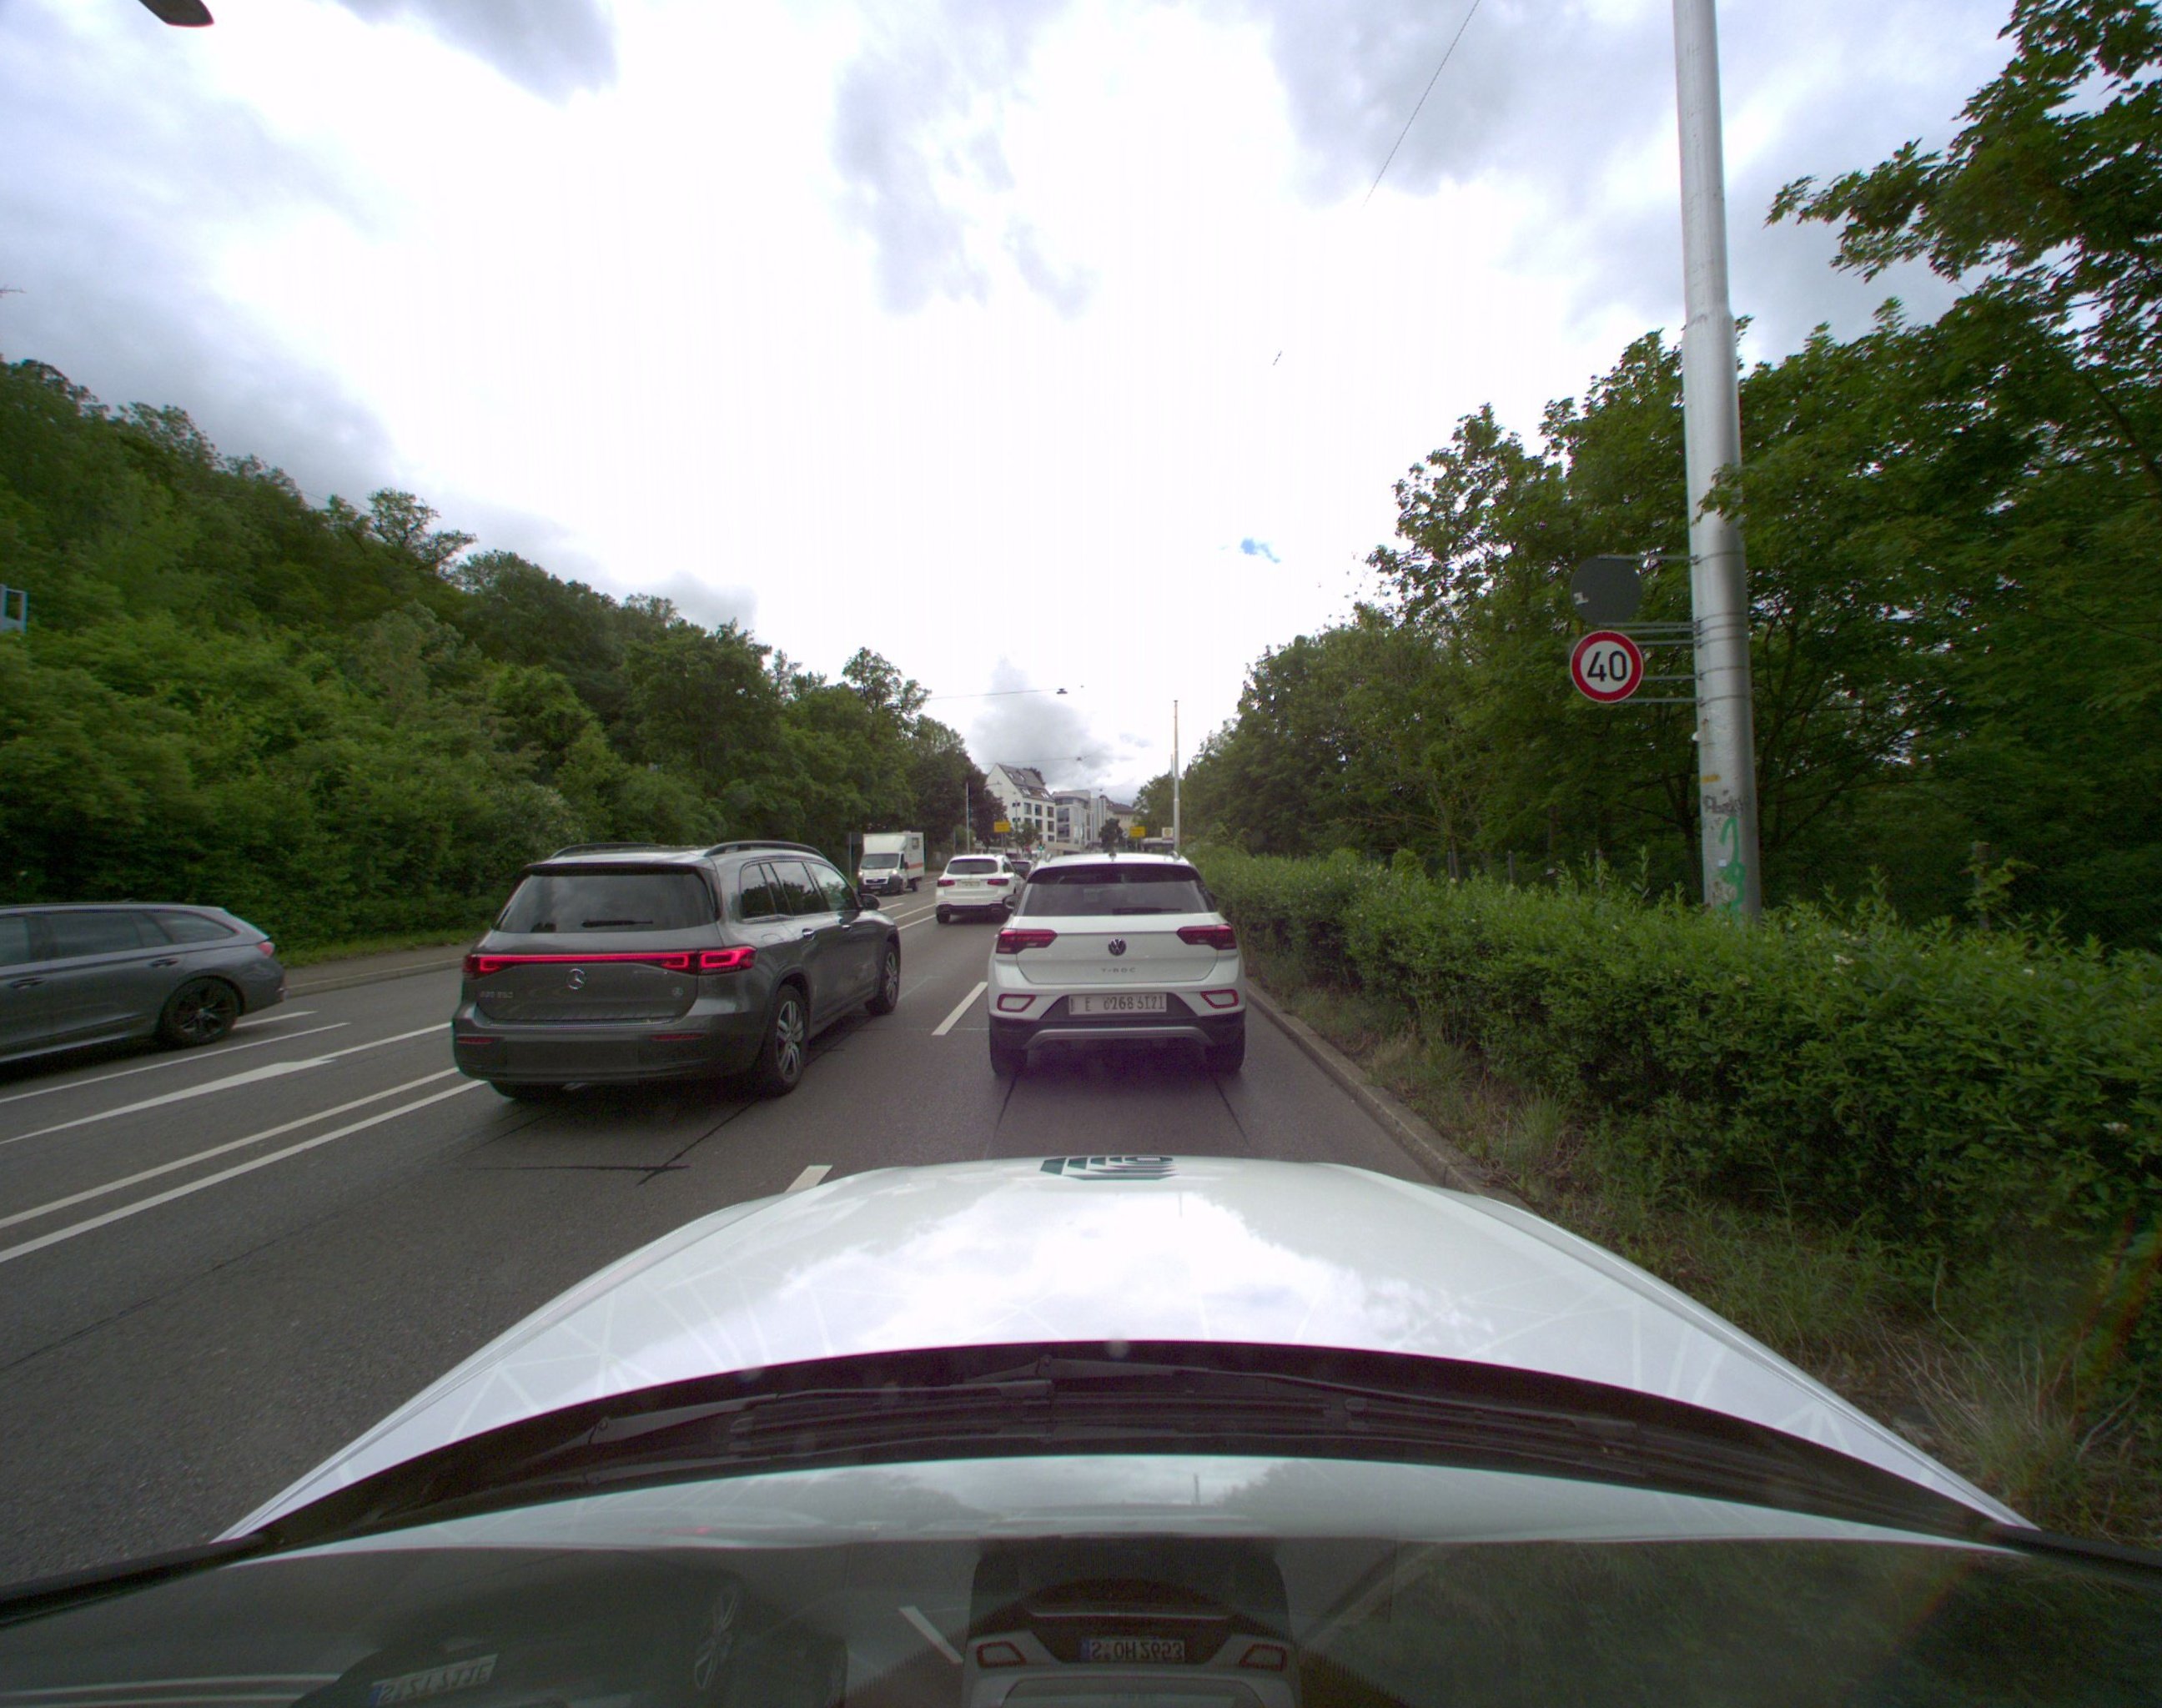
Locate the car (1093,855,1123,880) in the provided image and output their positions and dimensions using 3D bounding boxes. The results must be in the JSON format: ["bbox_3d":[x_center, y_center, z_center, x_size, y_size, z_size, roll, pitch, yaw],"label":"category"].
[{"bbox_3d":[1.701,0.838,52.483,1.823,1.526,4.001,-2,0,1],"label":"car"}]

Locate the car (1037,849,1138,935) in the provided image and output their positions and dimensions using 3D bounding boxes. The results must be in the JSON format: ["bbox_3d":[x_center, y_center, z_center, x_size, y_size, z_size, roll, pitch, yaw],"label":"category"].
[{"bbox_3d":[0.154,0.710,17.131,1.823,1.526,4.001,-2,0,1],"label":"car"}]

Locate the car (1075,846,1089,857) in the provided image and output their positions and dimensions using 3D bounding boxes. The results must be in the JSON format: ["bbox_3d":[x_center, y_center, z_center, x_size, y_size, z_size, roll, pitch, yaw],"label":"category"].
[{"bbox_3d":[0.154,-0.395,116.901,1.823,1.526,4.001,-2,0,1],"label":"car"}]

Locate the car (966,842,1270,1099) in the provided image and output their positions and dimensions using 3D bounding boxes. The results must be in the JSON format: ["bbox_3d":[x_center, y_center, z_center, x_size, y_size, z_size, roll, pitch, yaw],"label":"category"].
[{"bbox_3d":[0.262,0.721,7.001,1.823,1.526,4.001,-2,0,1],"label":"car"}]

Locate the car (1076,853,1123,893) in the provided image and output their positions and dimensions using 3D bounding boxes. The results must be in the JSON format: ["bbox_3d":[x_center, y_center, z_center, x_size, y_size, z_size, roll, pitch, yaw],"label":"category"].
[{"bbox_3d":[0.777,0.775,34.664,1.823,1.526,4.001,-2,0,1],"label":"car"}]

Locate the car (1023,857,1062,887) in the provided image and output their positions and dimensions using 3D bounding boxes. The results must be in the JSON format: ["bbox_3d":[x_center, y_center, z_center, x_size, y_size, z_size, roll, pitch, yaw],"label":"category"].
[{"bbox_3d":[-2.100,0.979,45.479,1.823,1.526,4.001,-2,0,1],"label":"car"}]

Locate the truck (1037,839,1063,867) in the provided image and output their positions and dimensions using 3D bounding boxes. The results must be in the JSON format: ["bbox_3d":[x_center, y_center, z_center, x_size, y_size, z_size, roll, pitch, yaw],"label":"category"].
[{"bbox_3d":[-3.230,-0.121,85.619,2.354,2.782,4.478,-3,0,1],"label":"truck"}]

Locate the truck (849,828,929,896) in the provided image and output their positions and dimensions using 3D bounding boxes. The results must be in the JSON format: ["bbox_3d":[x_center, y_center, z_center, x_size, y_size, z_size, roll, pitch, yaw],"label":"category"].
[{"bbox_3d":[-9.492,0.404,41.017,2.286,3.051,6.977,-2,-1,0],"label":"truck"}]

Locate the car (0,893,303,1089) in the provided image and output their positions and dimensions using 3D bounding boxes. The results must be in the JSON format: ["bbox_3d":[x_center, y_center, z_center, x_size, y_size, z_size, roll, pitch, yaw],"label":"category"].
[{"bbox_3d":[-9.153,1.144,6.449,1.673,1.395,4.361,-3,0,1],"label":"car"}]

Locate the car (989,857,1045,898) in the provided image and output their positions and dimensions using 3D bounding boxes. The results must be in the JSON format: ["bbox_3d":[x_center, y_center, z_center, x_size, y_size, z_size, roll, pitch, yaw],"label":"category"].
[{"bbox_3d":[-2.547,0.893,33.239,1.823,1.497,4.001,-2,0,1],"label":"car"}]

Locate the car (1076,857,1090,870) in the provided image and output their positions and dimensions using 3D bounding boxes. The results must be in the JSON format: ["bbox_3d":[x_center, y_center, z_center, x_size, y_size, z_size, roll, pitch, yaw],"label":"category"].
[{"bbox_3d":[0.295,1.242,109.637,1.809,1.656,3.929,-3,0,1],"label":"car"}]

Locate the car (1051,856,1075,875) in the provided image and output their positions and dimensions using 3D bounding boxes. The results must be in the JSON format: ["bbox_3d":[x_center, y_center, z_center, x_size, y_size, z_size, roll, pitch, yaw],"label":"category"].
[{"bbox_3d":[-1.499,0.950,68.565,1.823,1.526,4.001,-2,0,1],"label":"car"}]

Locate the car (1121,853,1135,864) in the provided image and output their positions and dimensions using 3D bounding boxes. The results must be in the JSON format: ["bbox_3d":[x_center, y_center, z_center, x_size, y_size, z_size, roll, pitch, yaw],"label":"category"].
[{"bbox_3d":[6.966,0.671,120.578,1.823,1.526,4.001,-2,0,1],"label":"car"}]

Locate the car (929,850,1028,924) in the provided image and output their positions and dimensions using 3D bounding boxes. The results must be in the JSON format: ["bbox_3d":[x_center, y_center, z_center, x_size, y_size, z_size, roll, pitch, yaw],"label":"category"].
[{"bbox_3d":[-2.453,0.755,20.498,1.911,1.669,4.001,-1,0,1],"label":"car"}]

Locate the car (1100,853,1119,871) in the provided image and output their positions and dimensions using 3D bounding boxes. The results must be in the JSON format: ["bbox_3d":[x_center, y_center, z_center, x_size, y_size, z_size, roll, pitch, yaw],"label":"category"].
[{"bbox_3d":[3.313,0.943,94.356,1.987,1.969,3.999,-2,0,0],"label":"car"}]

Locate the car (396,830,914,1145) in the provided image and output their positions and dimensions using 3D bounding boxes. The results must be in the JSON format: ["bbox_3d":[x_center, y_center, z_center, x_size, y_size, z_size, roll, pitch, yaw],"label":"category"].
[{"bbox_3d":[-2.742,0.723,6.572,1.843,1.651,4.357,-1,0,0],"label":"car"}]

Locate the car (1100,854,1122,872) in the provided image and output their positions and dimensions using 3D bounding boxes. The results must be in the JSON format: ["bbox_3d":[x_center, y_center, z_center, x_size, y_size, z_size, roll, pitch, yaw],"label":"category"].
[{"bbox_3d":[2.693,0.806,74.143,1.823,1.526,4.001,-2,0,1],"label":"car"}]

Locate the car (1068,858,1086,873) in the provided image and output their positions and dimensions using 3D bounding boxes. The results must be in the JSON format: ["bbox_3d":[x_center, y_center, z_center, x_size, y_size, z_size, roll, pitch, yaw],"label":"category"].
[{"bbox_3d":[-0.443,1.222,90.155,1.823,1.526,4.001,-2,0,1],"label":"car"}]

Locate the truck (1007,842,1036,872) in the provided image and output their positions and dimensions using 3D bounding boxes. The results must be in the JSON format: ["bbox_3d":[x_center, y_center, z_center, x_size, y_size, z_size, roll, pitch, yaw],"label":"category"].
[{"bbox_3d":[-5.893,0.294,81.084,2.354,2.706,4.478,-3,0,1],"label":"truck"}]
